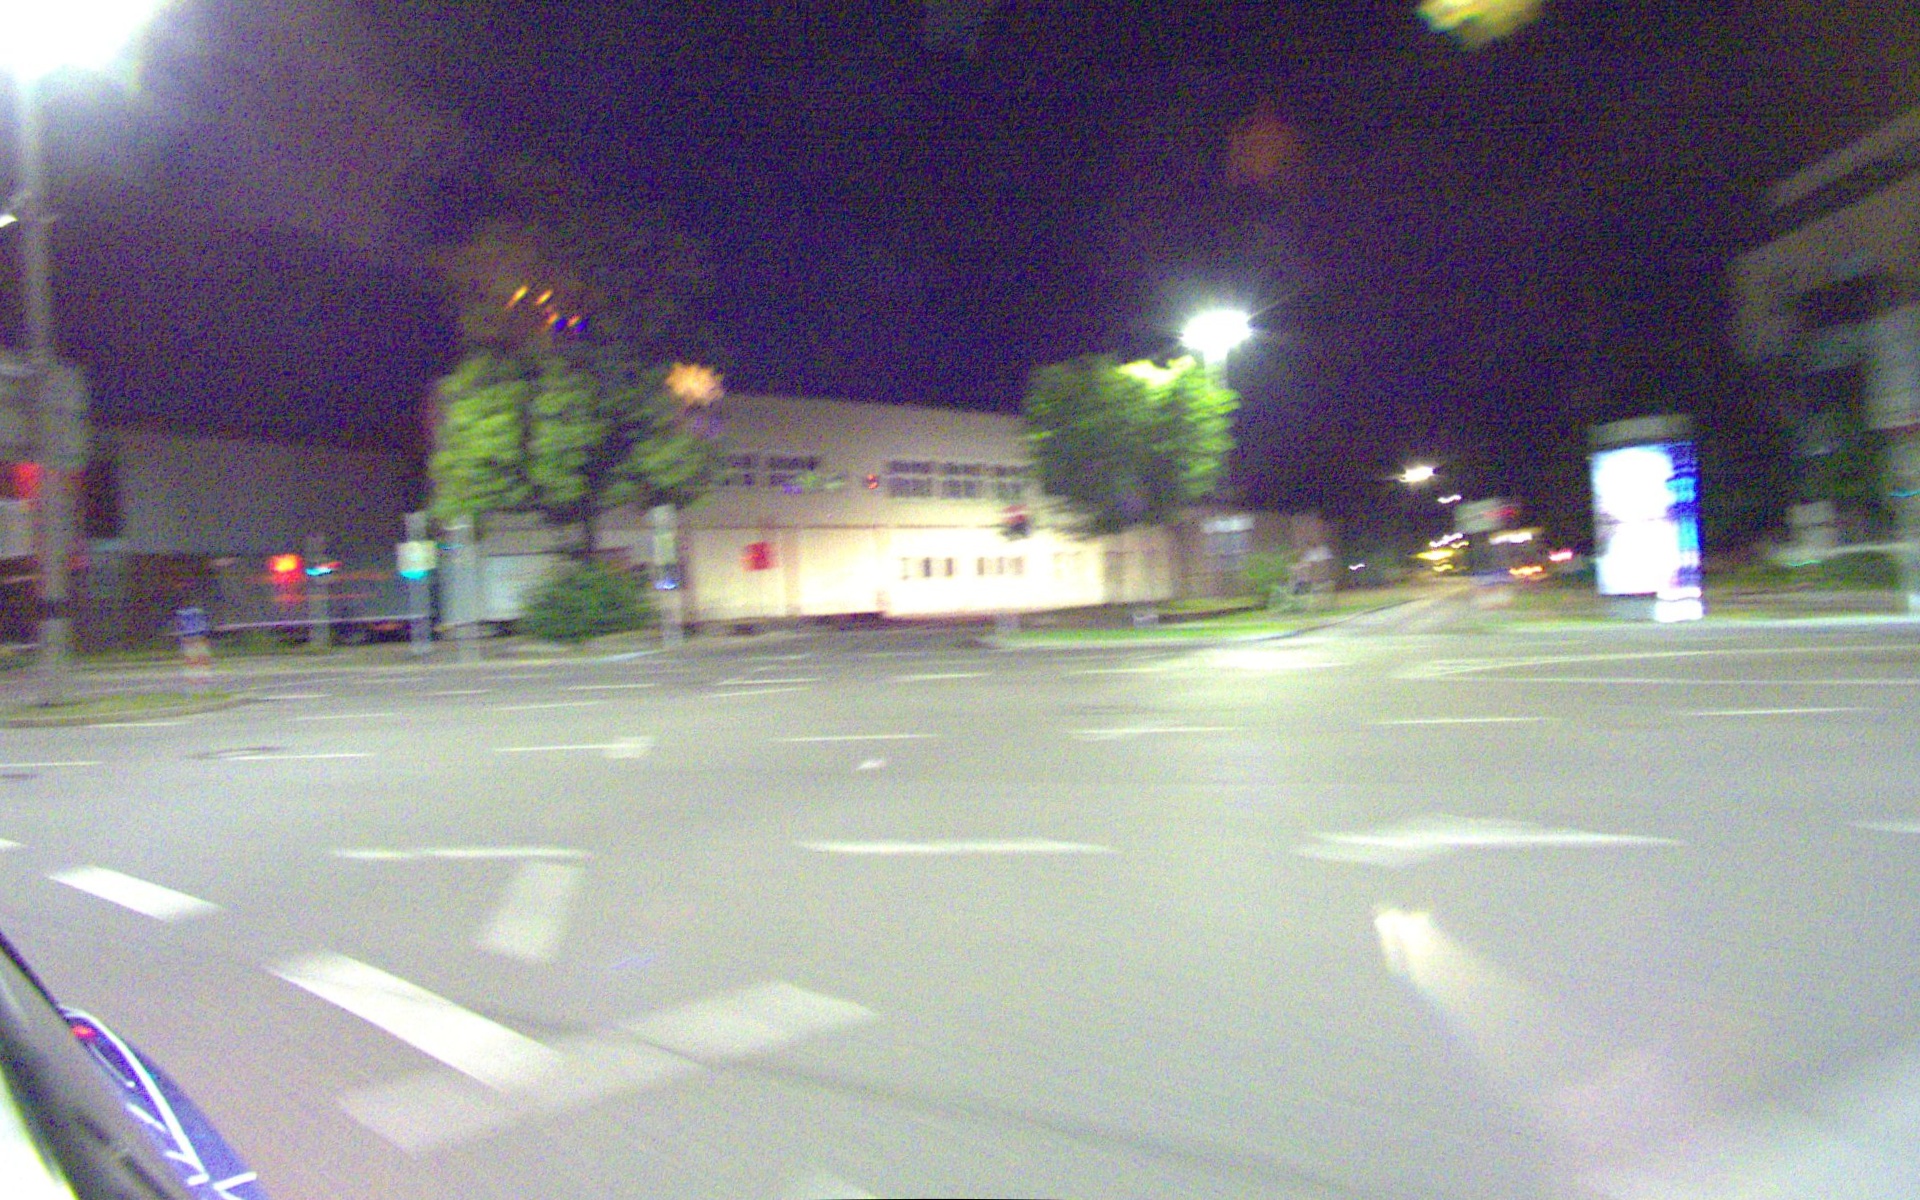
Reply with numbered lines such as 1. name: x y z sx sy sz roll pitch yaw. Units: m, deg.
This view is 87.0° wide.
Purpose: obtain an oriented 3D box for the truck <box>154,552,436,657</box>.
1. truck: -26.626 0.101 41.066 9.198 3.750 2.007 -3 1 -22

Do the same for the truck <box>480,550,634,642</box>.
1. truck: -17.956 -0.222 45.214 6.100 3.721 2.409 -3 1 -25
